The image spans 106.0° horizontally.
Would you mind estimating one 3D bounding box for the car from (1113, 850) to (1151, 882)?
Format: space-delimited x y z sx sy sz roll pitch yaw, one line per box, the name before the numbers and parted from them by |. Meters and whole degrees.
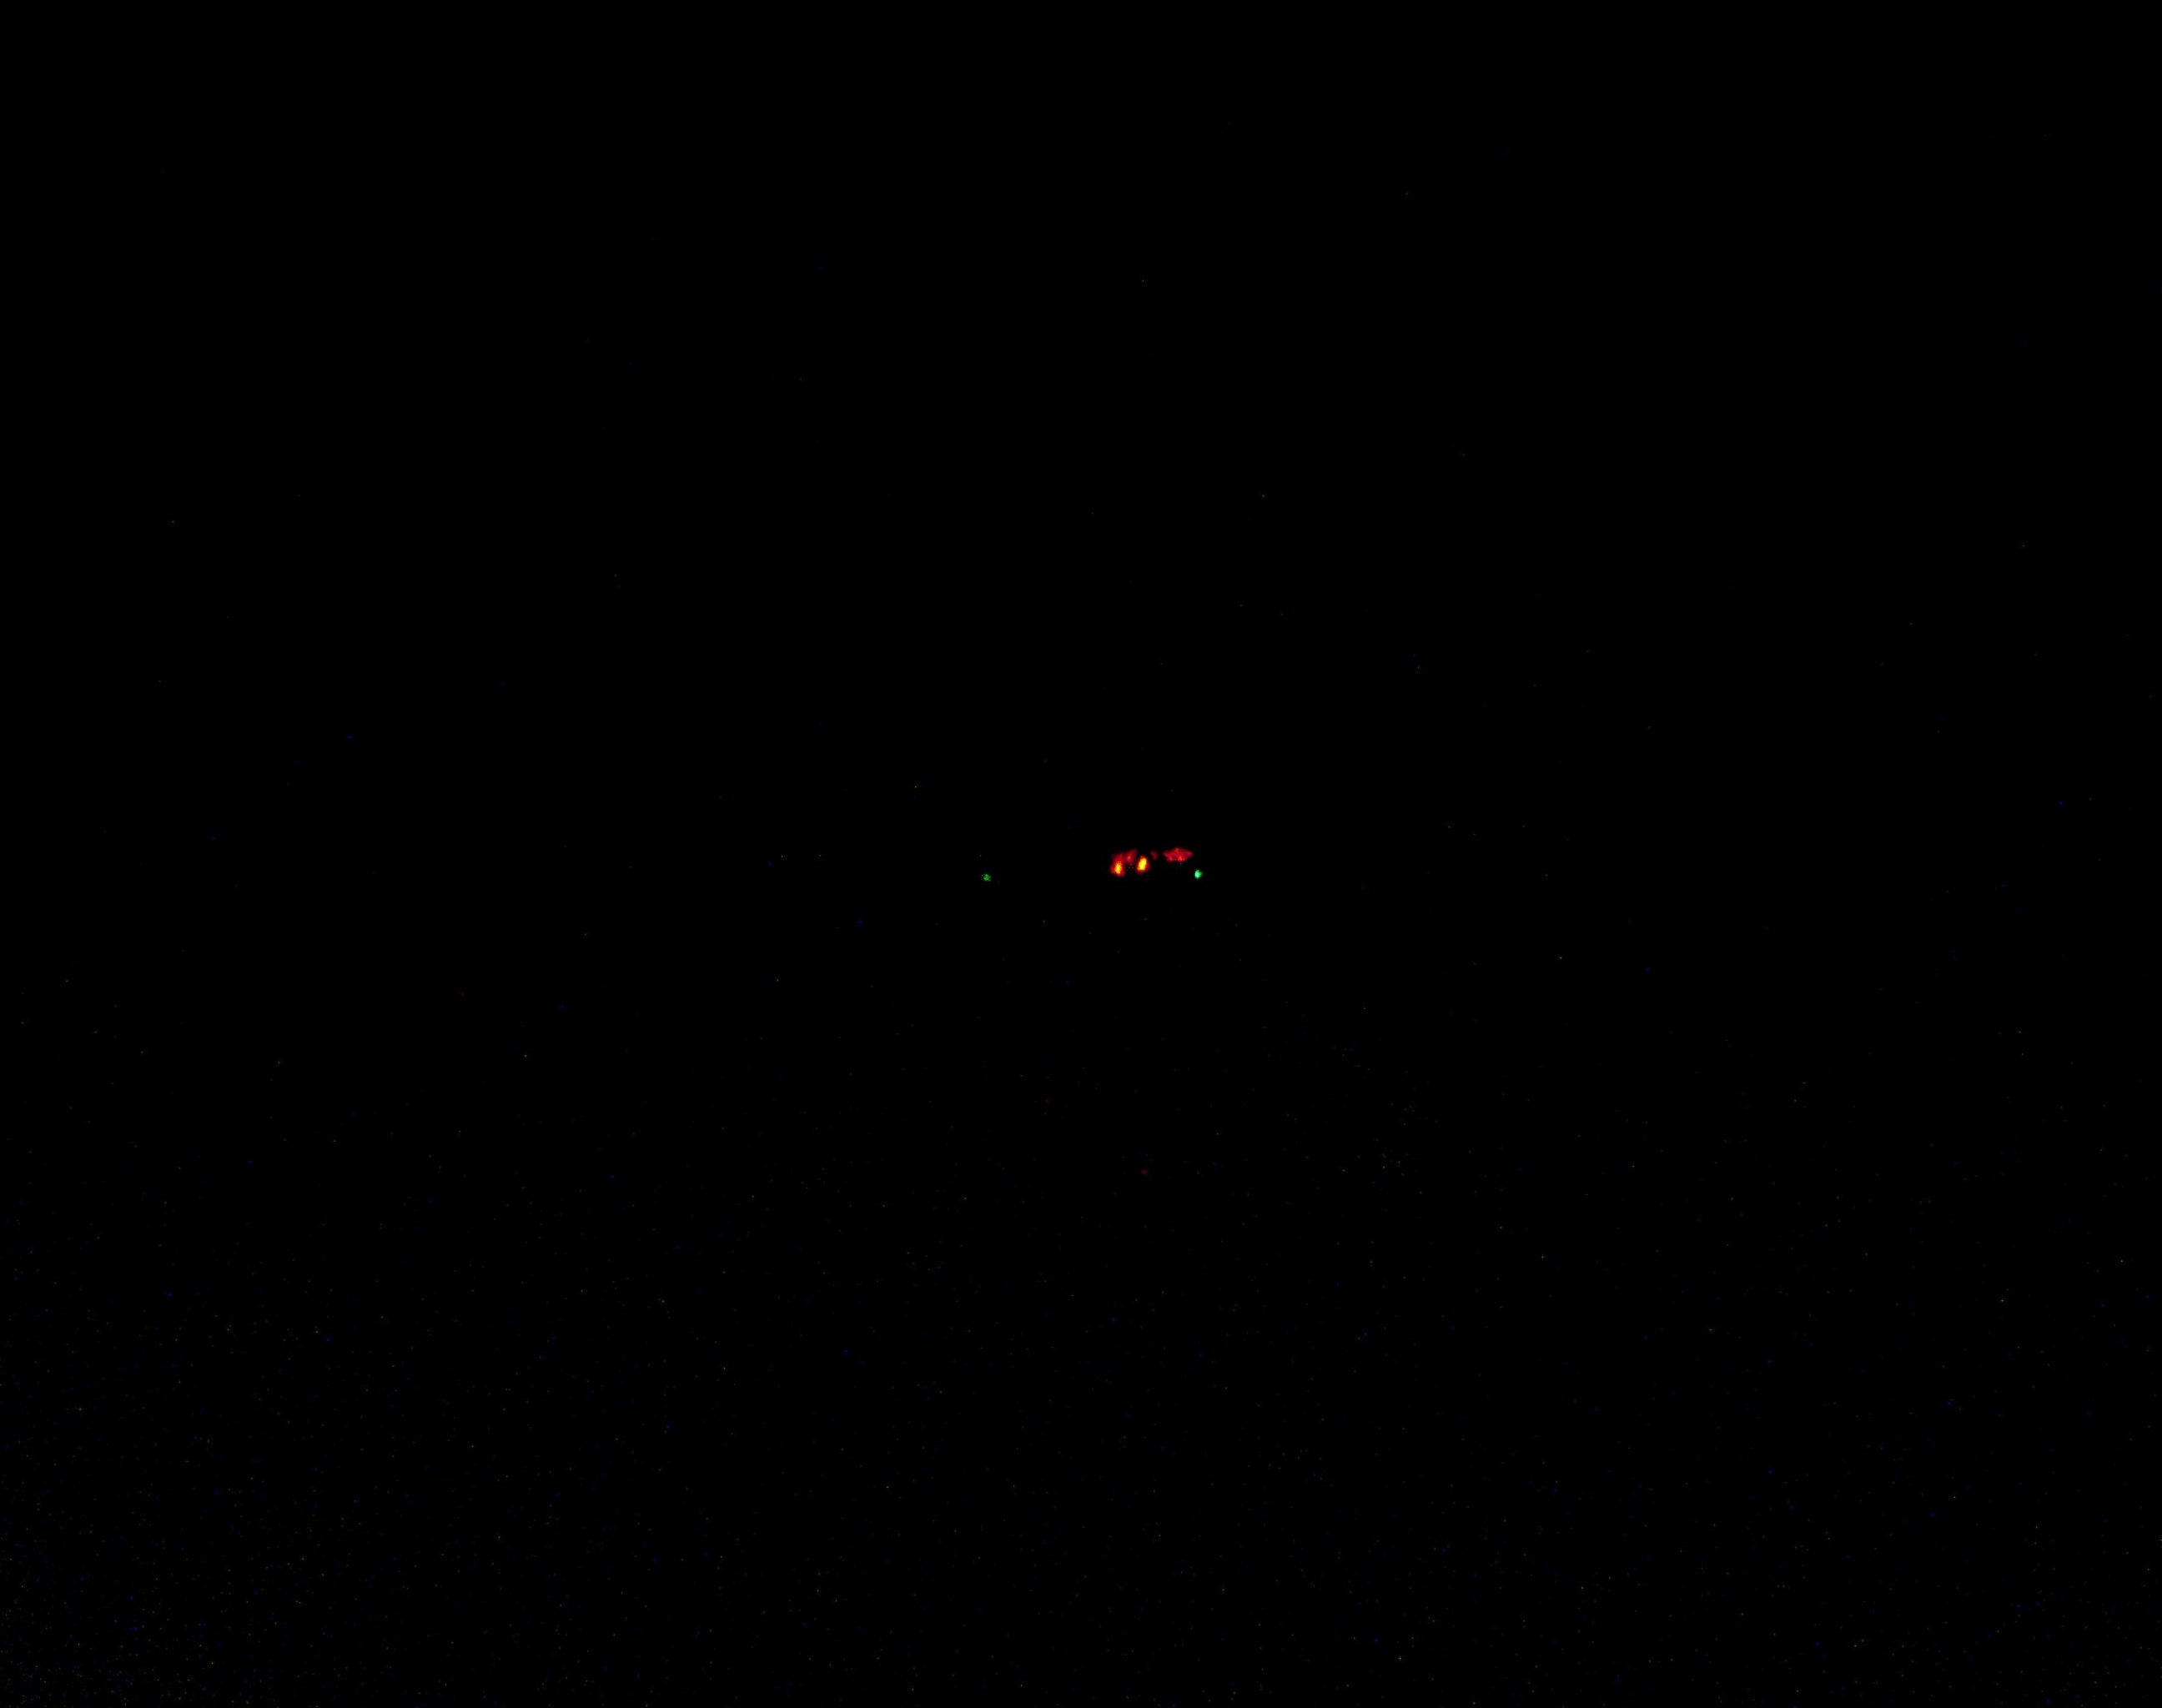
car | 3.069 0.679 48.140 1.832 1.740 4.010 -1 0 9
